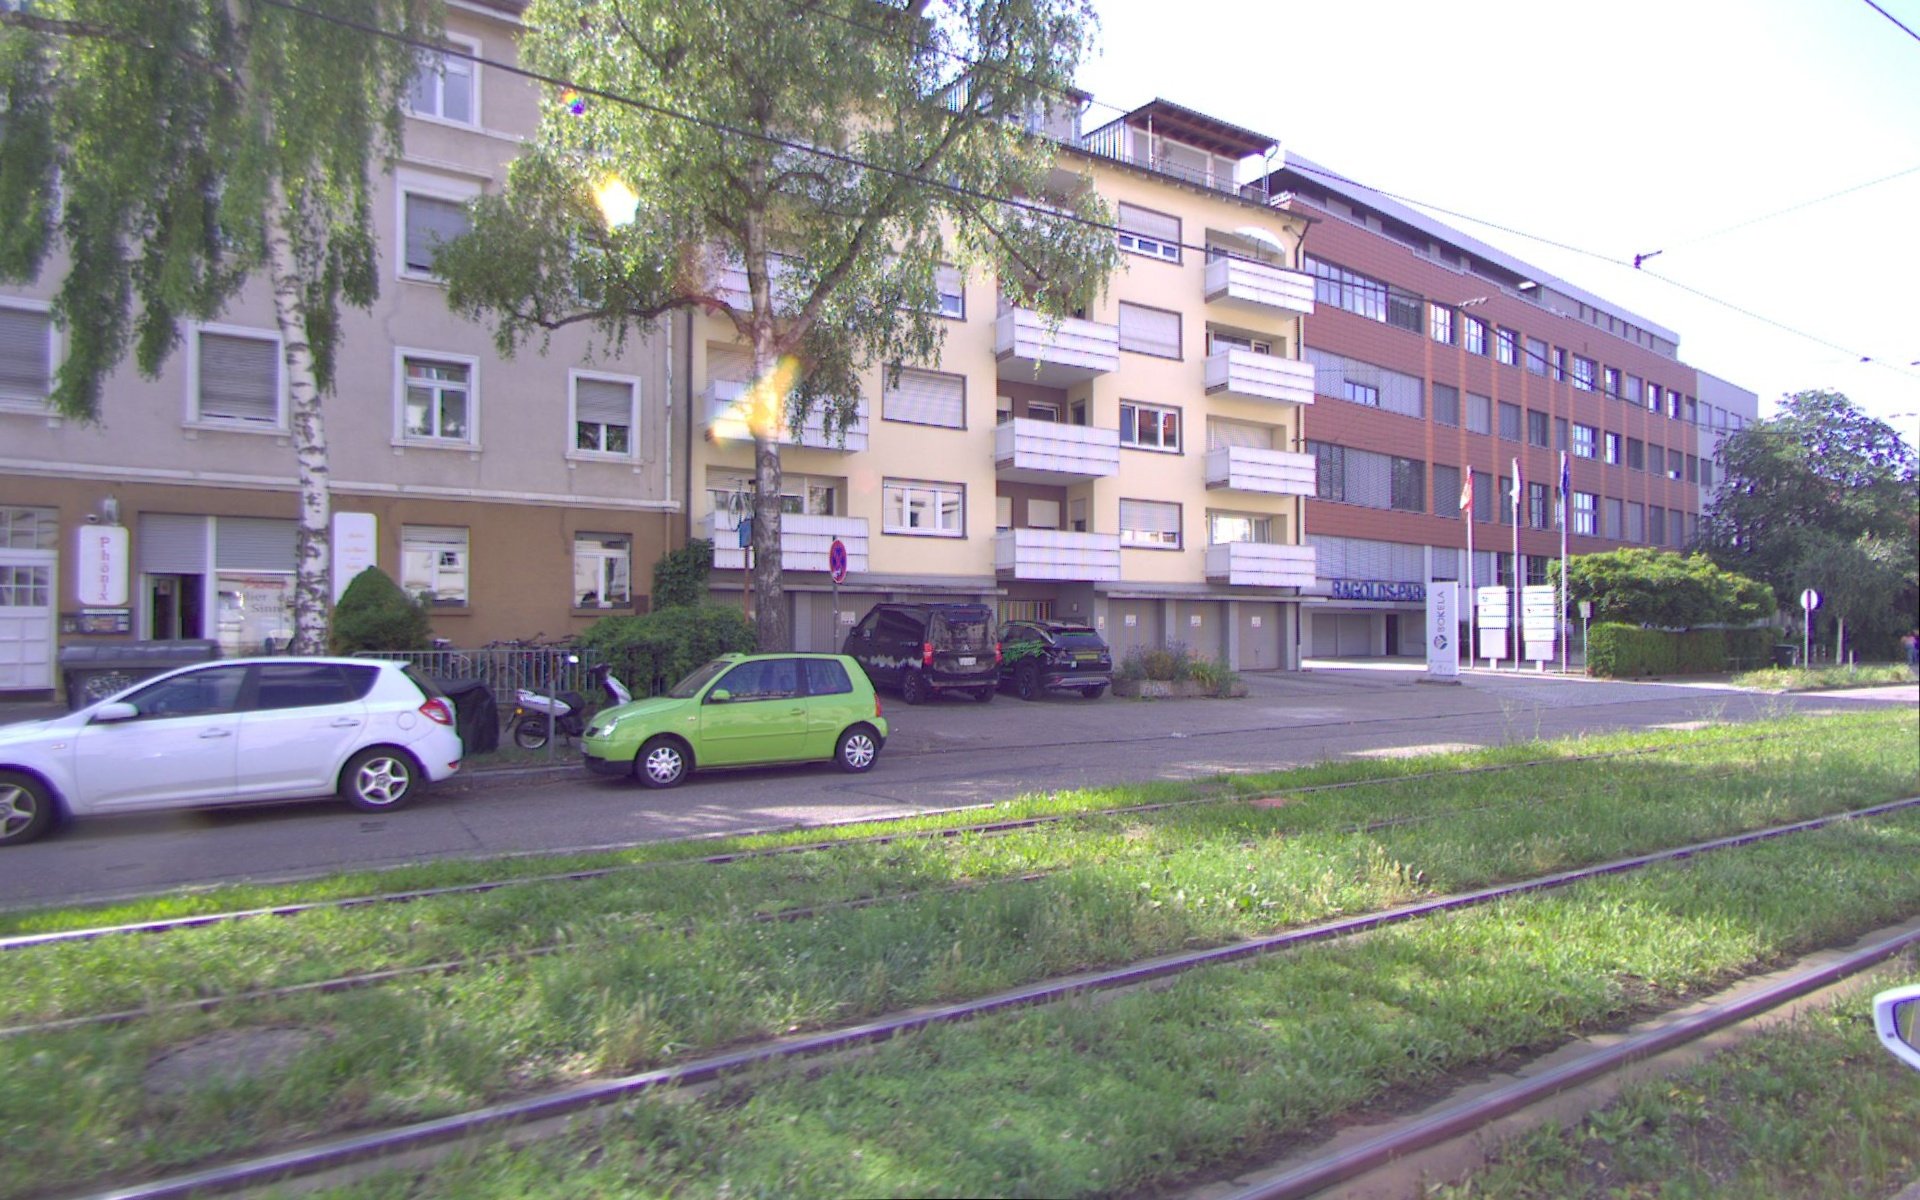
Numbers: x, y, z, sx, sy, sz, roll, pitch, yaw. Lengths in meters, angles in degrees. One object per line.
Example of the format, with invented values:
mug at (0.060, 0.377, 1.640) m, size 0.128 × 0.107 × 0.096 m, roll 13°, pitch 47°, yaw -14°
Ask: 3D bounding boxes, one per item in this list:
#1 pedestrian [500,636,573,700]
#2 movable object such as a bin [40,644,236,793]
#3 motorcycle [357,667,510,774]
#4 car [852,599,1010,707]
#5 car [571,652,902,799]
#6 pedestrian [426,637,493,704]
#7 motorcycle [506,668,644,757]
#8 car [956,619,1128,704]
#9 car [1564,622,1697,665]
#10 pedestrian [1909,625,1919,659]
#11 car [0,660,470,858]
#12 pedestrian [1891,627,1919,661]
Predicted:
pedestrian at (-8.276, 1.277, 19.554) m, size 1.116 × 1.144 × 2.502 m, roll 0°, pitch -2°, yaw -28°
movable object such as a bin at (-8.891, 1.233, 10.957) m, size 1.504 × 1.449 × 0.946 m, roll 0°, pitch 1°, yaw -30°
motorcycle at (-6.439, 1.436, 12.306) m, size 1.615 × 1.167 × 0.731 m, roll 1°, pitch -2°, yaw -32°
car at (-0.730, 1.016, 21.272) m, size 1.911 × 2.040 × 3.974 m, roll 0°, pitch 0°, yaw -26°
car at (-2.634, 1.382, 11.961) m, size 3.570 × 1.451 × 1.588 m, roll 1°, pitch -3°, yaw -29°
pedestrian at (-9.368, 1.281, 18.767) m, size 1.053 × 1.153 × 2.395 m, roll 0°, pitch -3°, yaw -28°
motorcycle at (-5.033, 1.446, 13.163) m, size 1.613 × 1.056 × 0.497 m, roll 2°, pitch 1°, yaw -31°
car at (1.711, 1.267, 22.218) m, size 1.949 × 1.623 × 3.969 m, roll 0°, pitch 0°, yaw -29°
car at (26.750, 1.701, 40.202) m, size 1.978 × 1.617 × 3.966 m, roll 1°, pitch -2°, yaw -32°
pedestrian at (47.935, 2.101, 50.152) m, size 0.737 × 1.679 × 0.555 m, roll 1°, pitch -2°, yaw -27°
car at (-6.902, 1.351, 9.312) m, size 4.174 × 1.496 × 1.638 m, roll 1°, pitch -3°, yaw -29°
pedestrian at (45.819, 2.139, 48.693) m, size 0.878 × 1.594 × 0.743 m, roll 2°, pitch -2°, yaw -27°
